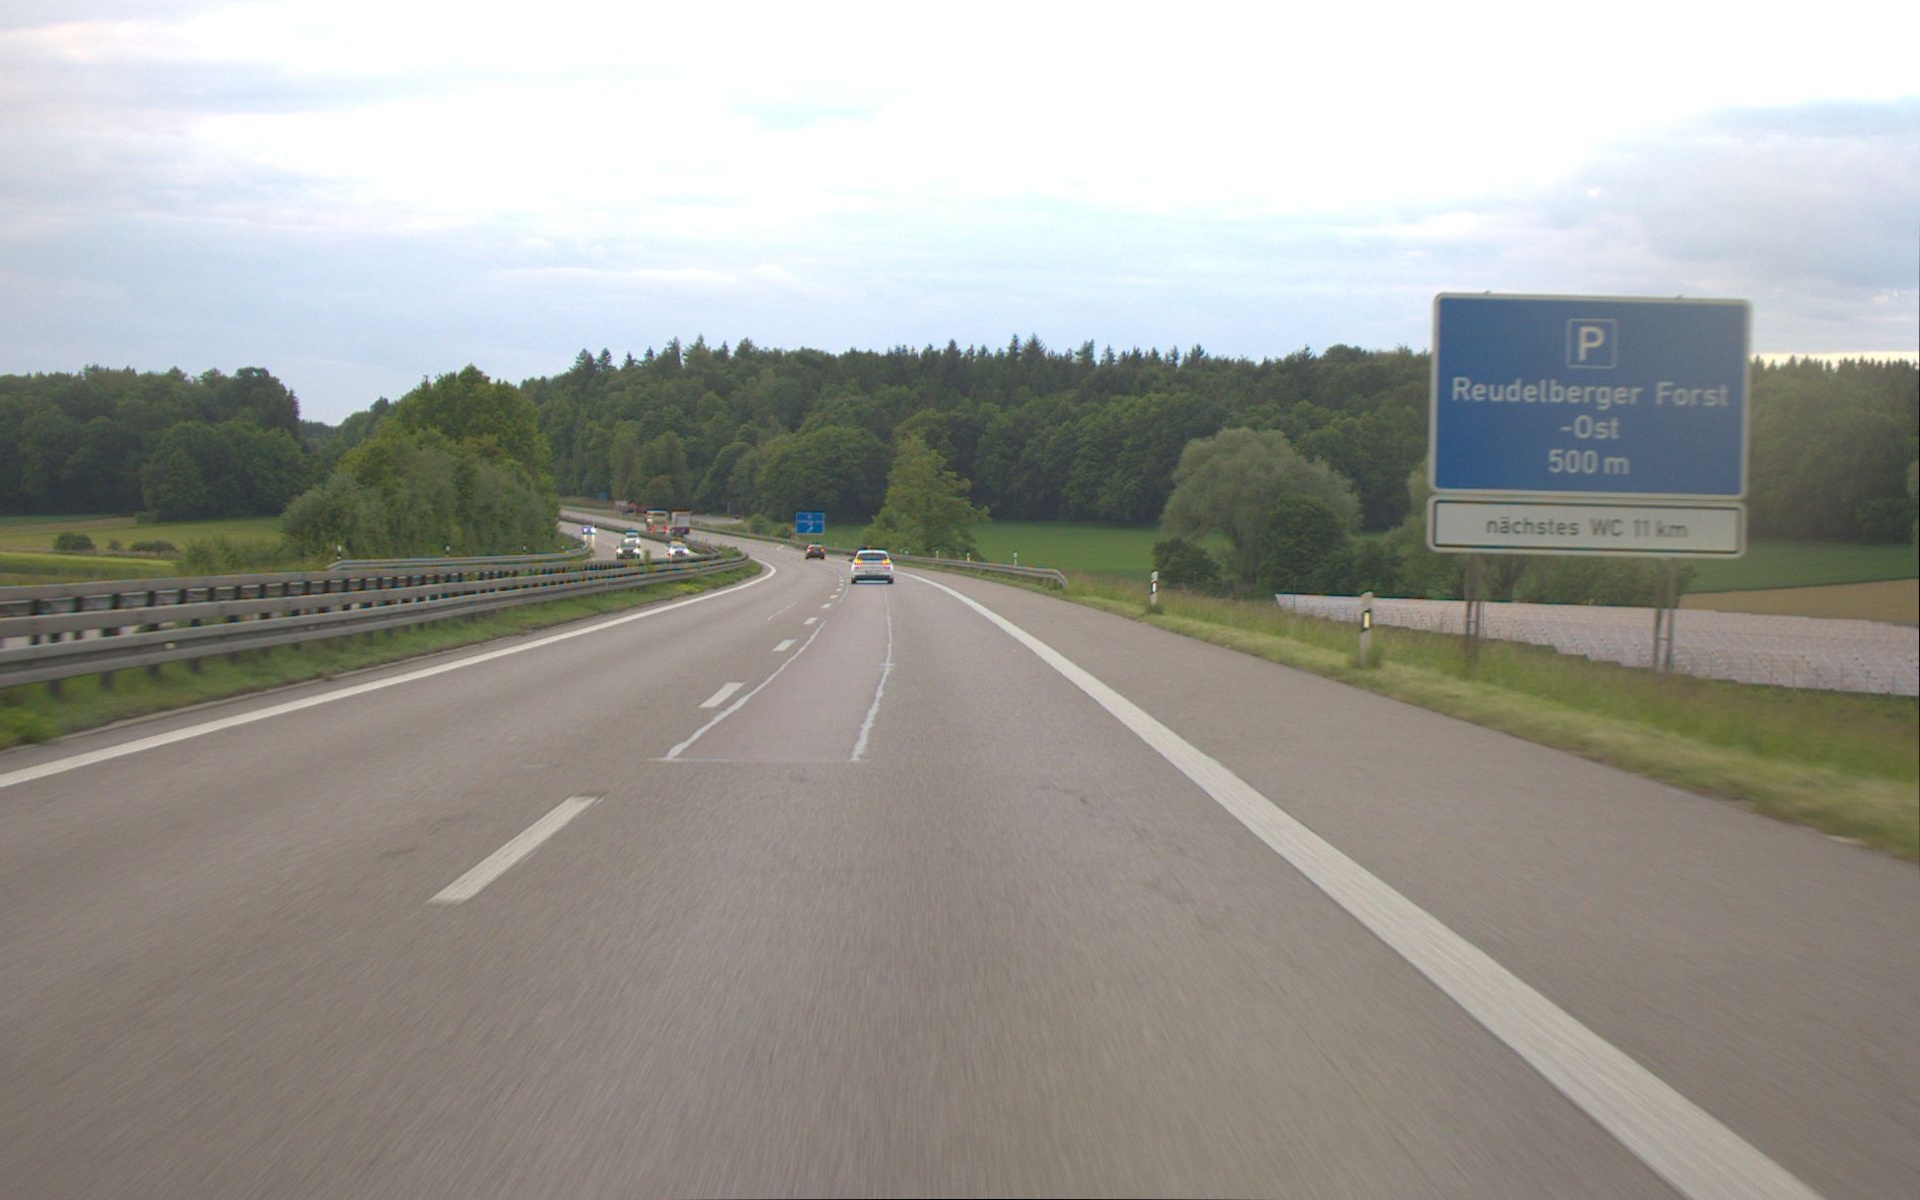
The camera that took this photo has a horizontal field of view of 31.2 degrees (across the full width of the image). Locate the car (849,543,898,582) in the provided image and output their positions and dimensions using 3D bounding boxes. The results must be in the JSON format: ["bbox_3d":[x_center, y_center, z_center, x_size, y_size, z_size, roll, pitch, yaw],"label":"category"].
[{"bbox_3d":[-3.715,-1.612,147.051,1.951,1.526,4.081,3,1,-3],"label":"car"}]
